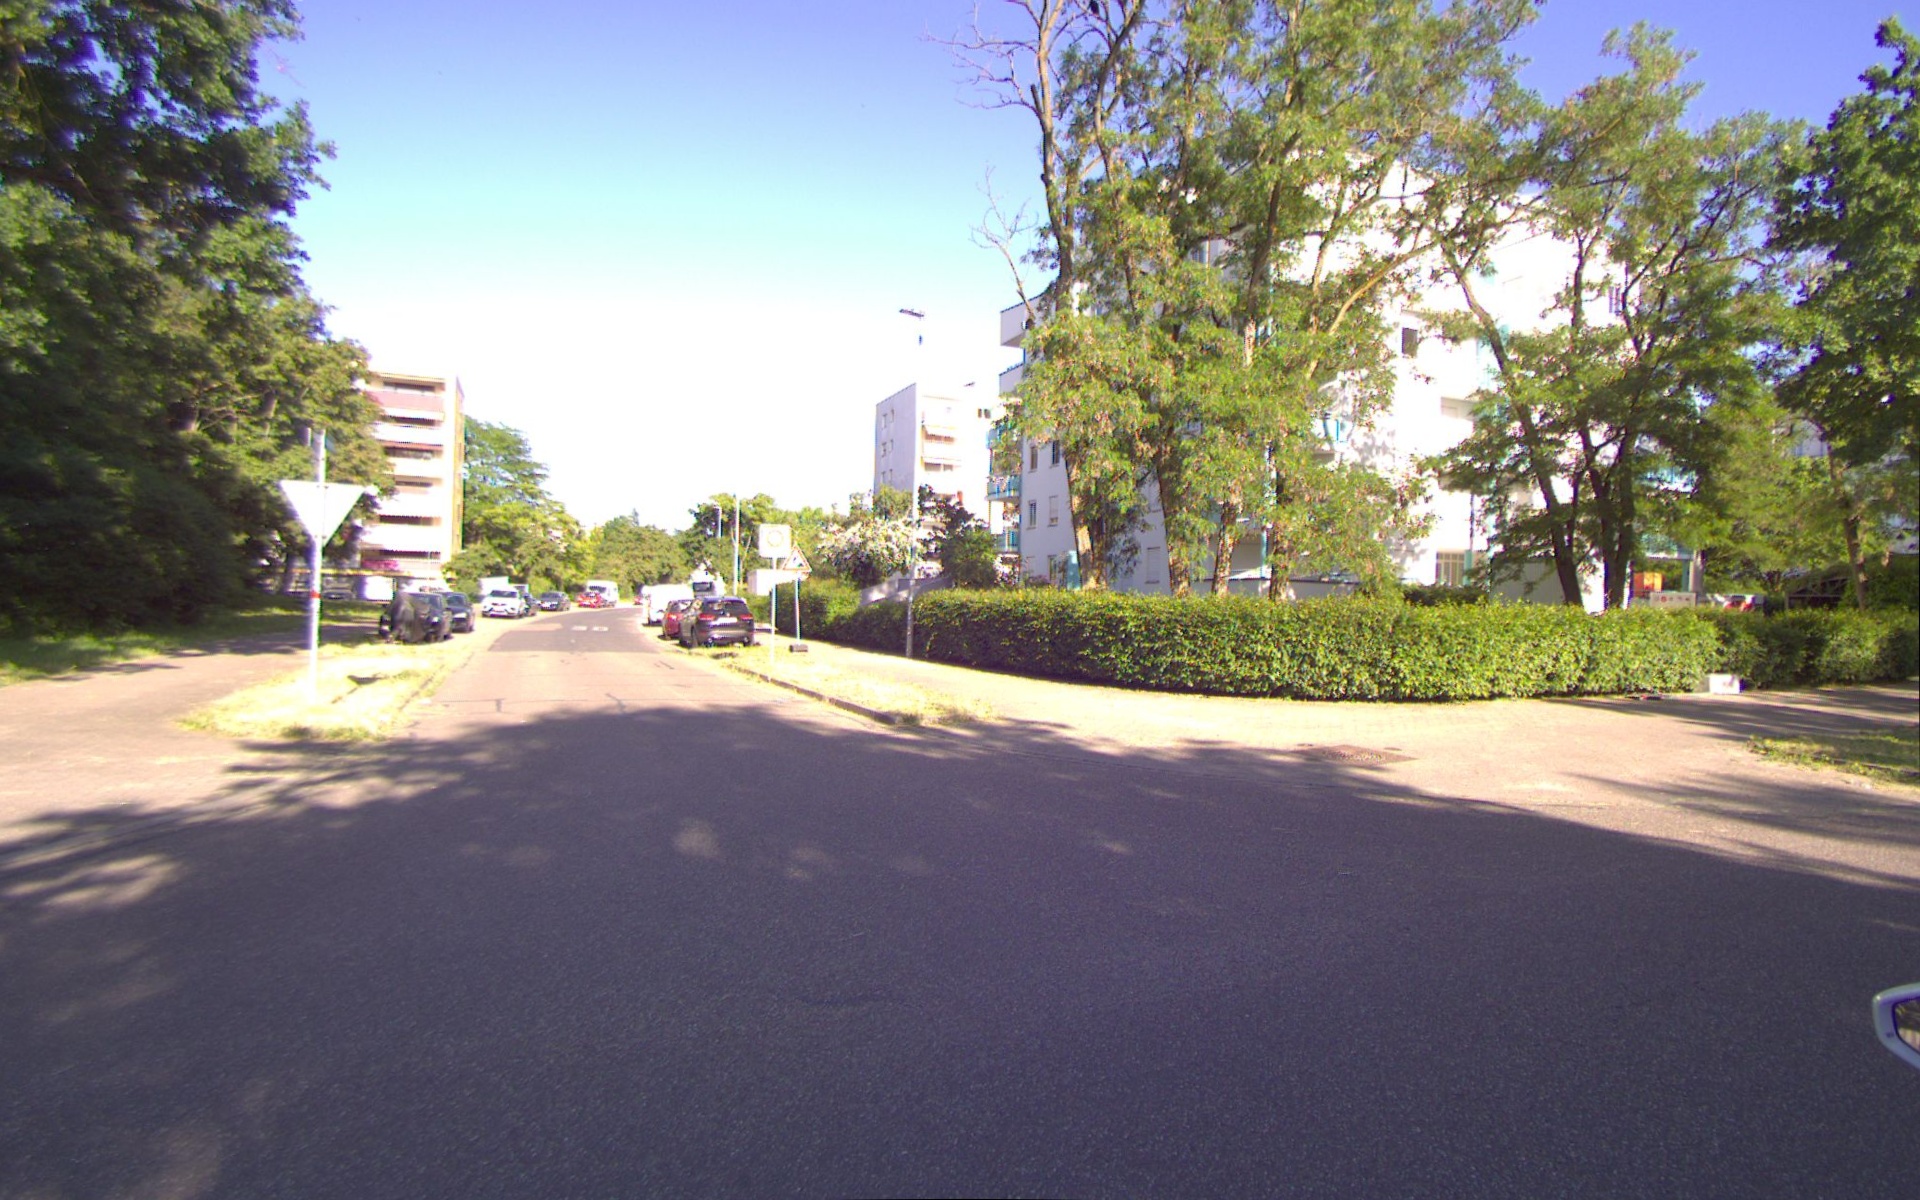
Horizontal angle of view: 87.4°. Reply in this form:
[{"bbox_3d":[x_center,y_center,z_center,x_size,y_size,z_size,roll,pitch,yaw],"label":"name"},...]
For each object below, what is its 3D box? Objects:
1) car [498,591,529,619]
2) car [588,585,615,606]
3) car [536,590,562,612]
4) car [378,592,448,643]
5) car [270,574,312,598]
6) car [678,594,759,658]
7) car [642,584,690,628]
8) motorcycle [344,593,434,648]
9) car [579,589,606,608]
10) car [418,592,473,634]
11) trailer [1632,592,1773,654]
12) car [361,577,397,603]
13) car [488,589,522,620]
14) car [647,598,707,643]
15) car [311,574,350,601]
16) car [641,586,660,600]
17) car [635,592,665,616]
[{"bbox_3d":[-26.584,0.271,59.819,1.623,1.578,3.813,1,0,-24],"label":"car"},{"bbox_3d":[-34.543,-0.473,96.760,1.950,1.925,3.989,2,0,-13],"label":"car"},{"bbox_3d":[-30.191,0.054,73.763,1.623,1.578,3.813,1,0,-24],"label":"car"},{"bbox_3d":[-16.399,0.485,30.222,1.538,1.410,3.567,1,0,-24],"label":"car"},{"bbox_3d":[-45.986,-0.975,69.140,1.775,1.547,3.813,1,0,-24],"label":"car"},{"bbox_3d":[-7.521,0.757,31.002,1.732,1.808,3.813,1,0,-24],"label":"car"},{"bbox_3d":[-14.760,0.295,50.342,1.803,2.088,3.813,1,0,-24],"label":"car"},{"bbox_3d":[-14.953,0.528,26.365,0.664,1.362,1.955,2,0,34],"label":"motorcycle"},{"bbox_3d":[-33.533,-0.157,91.709,1.796,1.617,3.989,2,0,-13],"label":"car"},{"bbox_3d":[-18.627,0.457,36.466,1.538,1.410,3.567,1,0,-24],"label":"car"},{"bbox_3d":[26.033,0.801,35.210,4.365,2.070,1.972,1,0,-22],"label":"trailer"},{"bbox_3d":[-41.253,-0.739,71.380,1.738,1.767,3.813,1,0,-24],"label":"car"},{"bbox_3d":[-24.745,0.228,54.653,1.623,1.578,3.813,1,0,-24],"label":"car"},{"bbox_3d":[-10.527,0.720,37.222,1.615,1.531,3.813,1,0,-24],"label":"car"},{"bbox_3d":[-44.118,-0.873,70.463,1.738,1.767,3.813,1,0,-24],"label":"car"},{"bbox_3d":[-38.701,-0.824,125.752,1.860,1.662,3.991,2,0,-12],"label":"car"},{"bbox_3d":[-20.153,0.231,65.251,1.499,1.486,3.056,1,0,-23],"label":"car"}]
